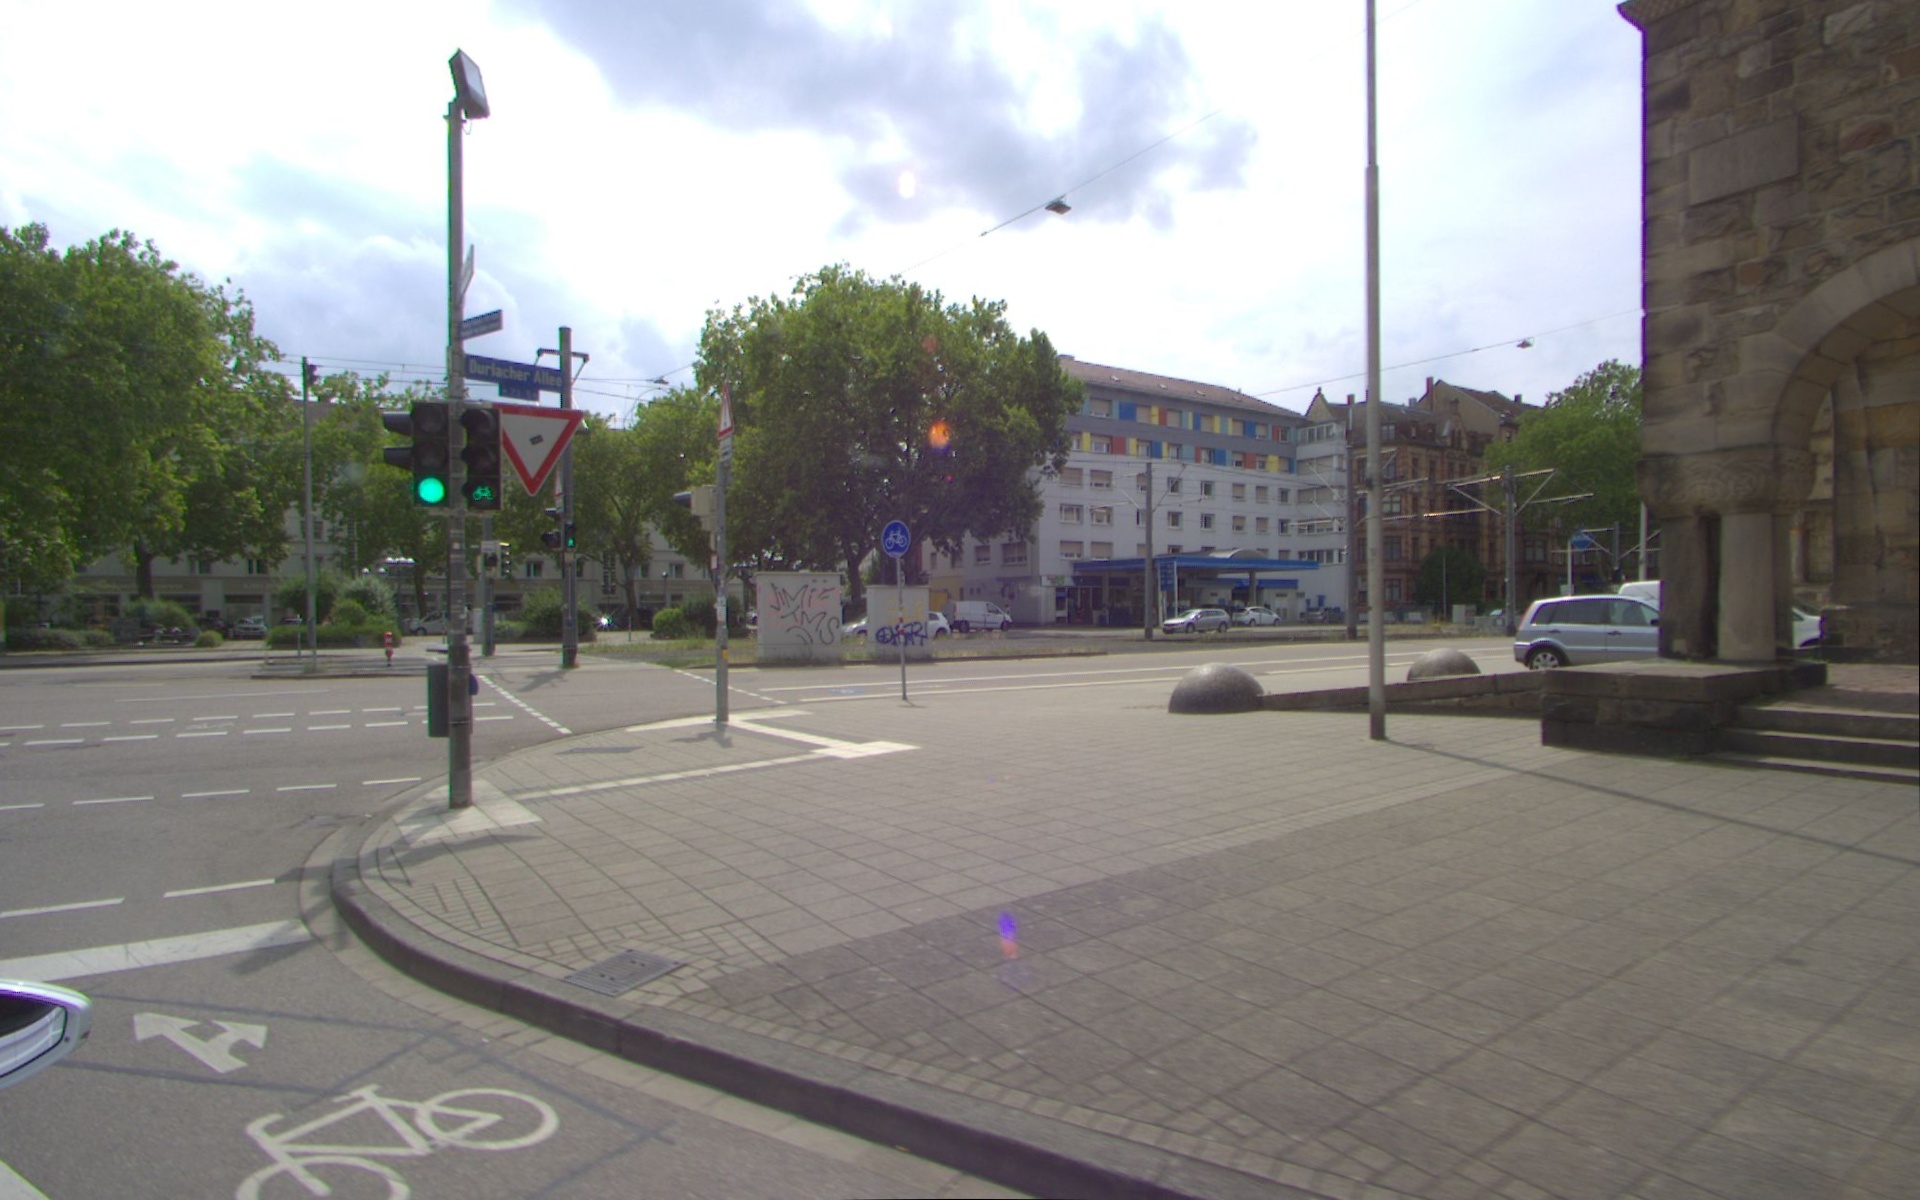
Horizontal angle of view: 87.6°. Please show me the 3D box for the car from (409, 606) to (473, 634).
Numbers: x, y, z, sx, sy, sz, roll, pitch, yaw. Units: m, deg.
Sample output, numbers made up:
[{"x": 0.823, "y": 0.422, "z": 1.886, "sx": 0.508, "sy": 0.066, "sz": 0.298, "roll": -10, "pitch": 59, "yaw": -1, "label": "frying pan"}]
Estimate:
[{"x": -37.502, "y": 1.438, "z": 72.357, "sx": 3.947, "sy": 1.908, "sz": 1.846, "roll": 0, "pitch": 0, "yaw": -34, "label": "car"}]

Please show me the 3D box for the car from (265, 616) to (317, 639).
[{"x": -48.197, "y": 1.970, "z": 72.122, "sx": 3.949, "sy": 1.539, "sz": 1.986, "roll": -1, "pitch": 0, "yaw": 37, "label": "car"}]

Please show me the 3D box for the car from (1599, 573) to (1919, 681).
[{"x": 14.739, "y": 0.460, "z": 18.656, "sx": 1.926, "sy": 1.748, "sz": 4.394, "roll": 0, "pitch": 0, "yaw": -33, "label": "car"}]

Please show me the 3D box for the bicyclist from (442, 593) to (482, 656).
[{"x": -13.775, "y": 0.680, "z": 27.707, "sx": 0.895, "sy": 1.706, "sz": 0.752, "roll": 0, "pitch": 0, "yaw": -34, "label": "bicyclist"}]

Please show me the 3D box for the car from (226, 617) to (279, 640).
[{"x": -49.801, "y": 1.972, "z": 70.486, "sx": 3.949, "sy": 1.523, "sz": 1.986, "roll": -1, "pitch": 0, "yaw": 37, "label": "car"}]

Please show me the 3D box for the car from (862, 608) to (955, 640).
[{"x": -2.438, "y": 1.130, "z": 47.384, "sx": 4.020, "sy": 1.433, "sz": 1.751, "roll": 0, "pitch": -1, "yaw": -30, "label": "car"}]

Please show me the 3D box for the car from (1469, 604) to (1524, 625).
[{"x": 39.201, "y": 1.072, "z": 73.138, "sx": 3.942, "sy": 1.418, "sz": 1.751, "roll": 0, "pitch": -1, "yaw": -30, "label": "car"}]

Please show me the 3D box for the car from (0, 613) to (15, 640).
[{"x": -61.237, "y": 1.662, "z": 63.110, "sx": 3.949, "sy": 1.706, "sz": 1.798, "roll": -1, "pitch": 0, "yaw": 37, "label": "car"}]

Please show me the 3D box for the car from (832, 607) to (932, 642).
[{"x": -3.319, "y": 1.050, "z": 42.629, "sx": 3.942, "sy": 1.418, "sz": 1.617, "roll": 0, "pitch": -1, "yaw": -30, "label": "car"}]

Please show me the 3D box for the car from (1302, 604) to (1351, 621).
[{"x": 32.154, "y": 1.070, "z": 87.848, "sx": 4.410, "sy": 1.433, "sz": 1.749, "roll": 0, "pitch": 0, "yaw": -33, "label": "car"}]

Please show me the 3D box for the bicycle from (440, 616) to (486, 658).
[{"x": -13.762, "y": 1.007, "z": 27.694, "sx": 0.894, "sy": 1.089, "sz": 1.957, "roll": 0, "pitch": 0, "yaw": -34, "label": "bicycle"}]

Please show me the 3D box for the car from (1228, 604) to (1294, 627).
[{"x": 21.404, "y": 1.126, "z": 71.185, "sx": 4.554, "sy": 1.535, "sz": 1.985, "roll": 0, "pitch": -2, "yaw": -31, "label": "car"}]

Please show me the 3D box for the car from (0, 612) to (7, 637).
[{"x": -68.608, "y": 1.729, "z": 70.378, "sx": 1.788, "sy": 1.706, "sz": 3.972, "roll": 0, "pitch": 0, "yaw": -36, "label": "car"}]

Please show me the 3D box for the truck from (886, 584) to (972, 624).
[{"x": -2.215, "y": 0.290, "z": 69.818, "sx": 3.040, "sy": 2.611, "sz": 6.468, "roll": 0, "pitch": 0, "yaw": -34, "label": "truck"}]

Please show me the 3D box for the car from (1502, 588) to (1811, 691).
[{"x": 12.009, "y": 0.626, "z": 17.517, "sx": 1.992, "sy": 1.563, "sz": 4.002, "roll": 0, "pitch": 0, "yaw": -33, "label": "car"}]

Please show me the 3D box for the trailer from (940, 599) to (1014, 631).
[{"x": 1.077, "y": 0.926, "z": 62.925, "sx": 4.377, "sy": 1.951, "sz": 1.843, "roll": 0, "pitch": 0, "yaw": -33, "label": "trailer"}]

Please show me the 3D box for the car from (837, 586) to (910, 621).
[{"x": -6.743, "y": 0.271, "z": 78.450, "sx": 5.269, "sy": 2.618, "sz": 2.165, "roll": 0, "pitch": -1, "yaw": -36, "label": "car"}]

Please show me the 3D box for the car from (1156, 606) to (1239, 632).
[{"x": 13.819, "y": 1.125, "z": 58.165, "sx": 4.731, "sy": 1.418, "sz": 1.751, "roll": 0, "pitch": -1, "yaw": -30, "label": "car"}]

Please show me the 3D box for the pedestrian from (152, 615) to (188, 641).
[{"x": -40.819, "y": 1.448, "z": 51.763, "sx": 1.422, "sy": 1.252, "sz": 1.087, "roll": -1, "pitch": 1, "yaw": 37, "label": "pedestrian"}]
